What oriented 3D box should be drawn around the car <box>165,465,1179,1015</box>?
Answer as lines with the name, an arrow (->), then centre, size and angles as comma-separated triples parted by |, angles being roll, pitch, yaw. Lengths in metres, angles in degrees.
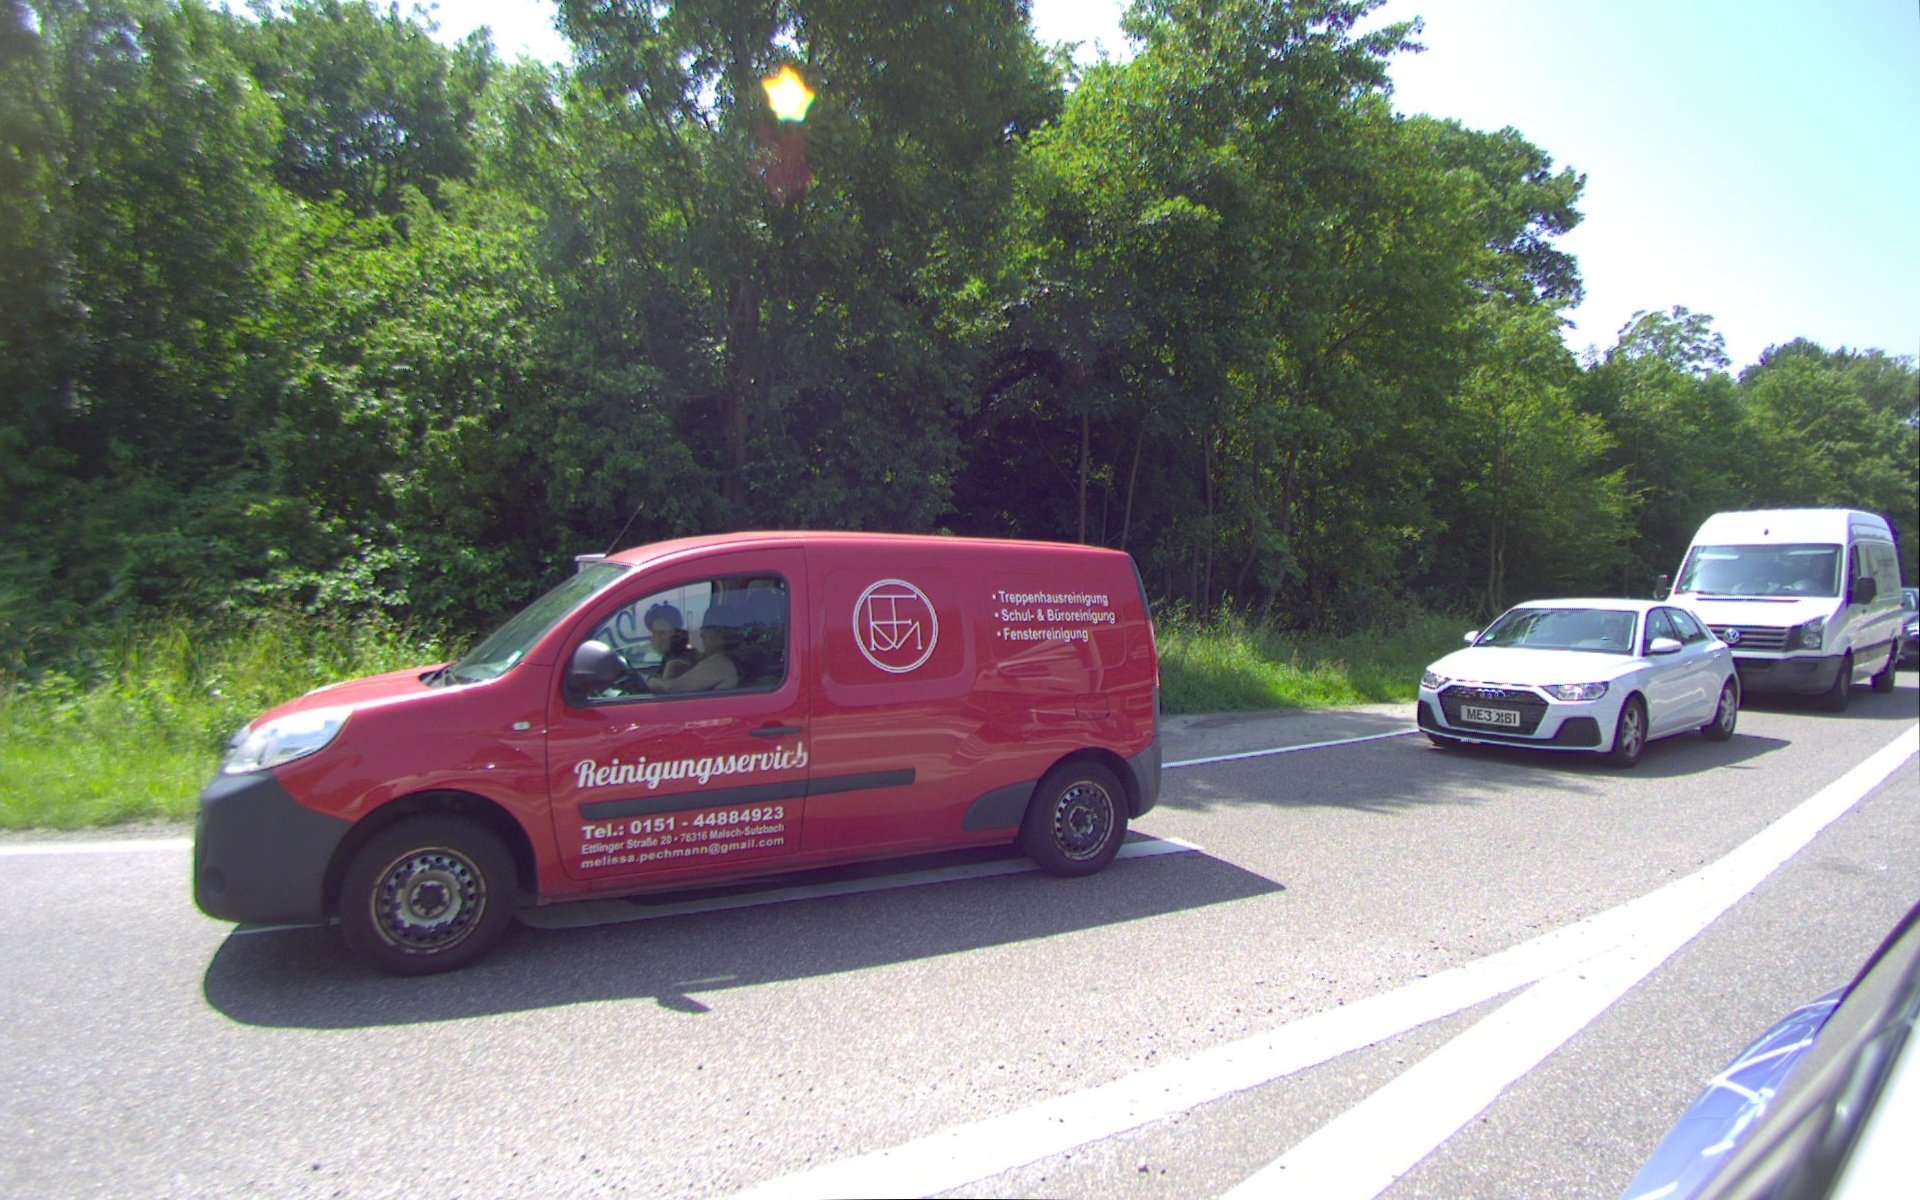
car -> -1.165, 0.450, 5.249 | 4.405, 1.845, 1.800 | 0, 0, -29

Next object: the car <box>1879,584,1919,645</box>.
car -> 23.518, 0.310, 24.260 | 4.156, 1.372, 1.795 | -1, 2, -42

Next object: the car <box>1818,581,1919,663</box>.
car -> 18.597, 0.376, 20.128 | 4.156, 1.479, 1.794 | -1, 1, -42

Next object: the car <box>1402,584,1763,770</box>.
car -> 6.121, 0.591, 9.800 | 3.927, 1.453, 1.694 | -1, 0, -38

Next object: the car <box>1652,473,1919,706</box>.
car -> 11.914, -0.149, 14.325 | 5.952, 2.678, 1.973 | 0, 0, -40
